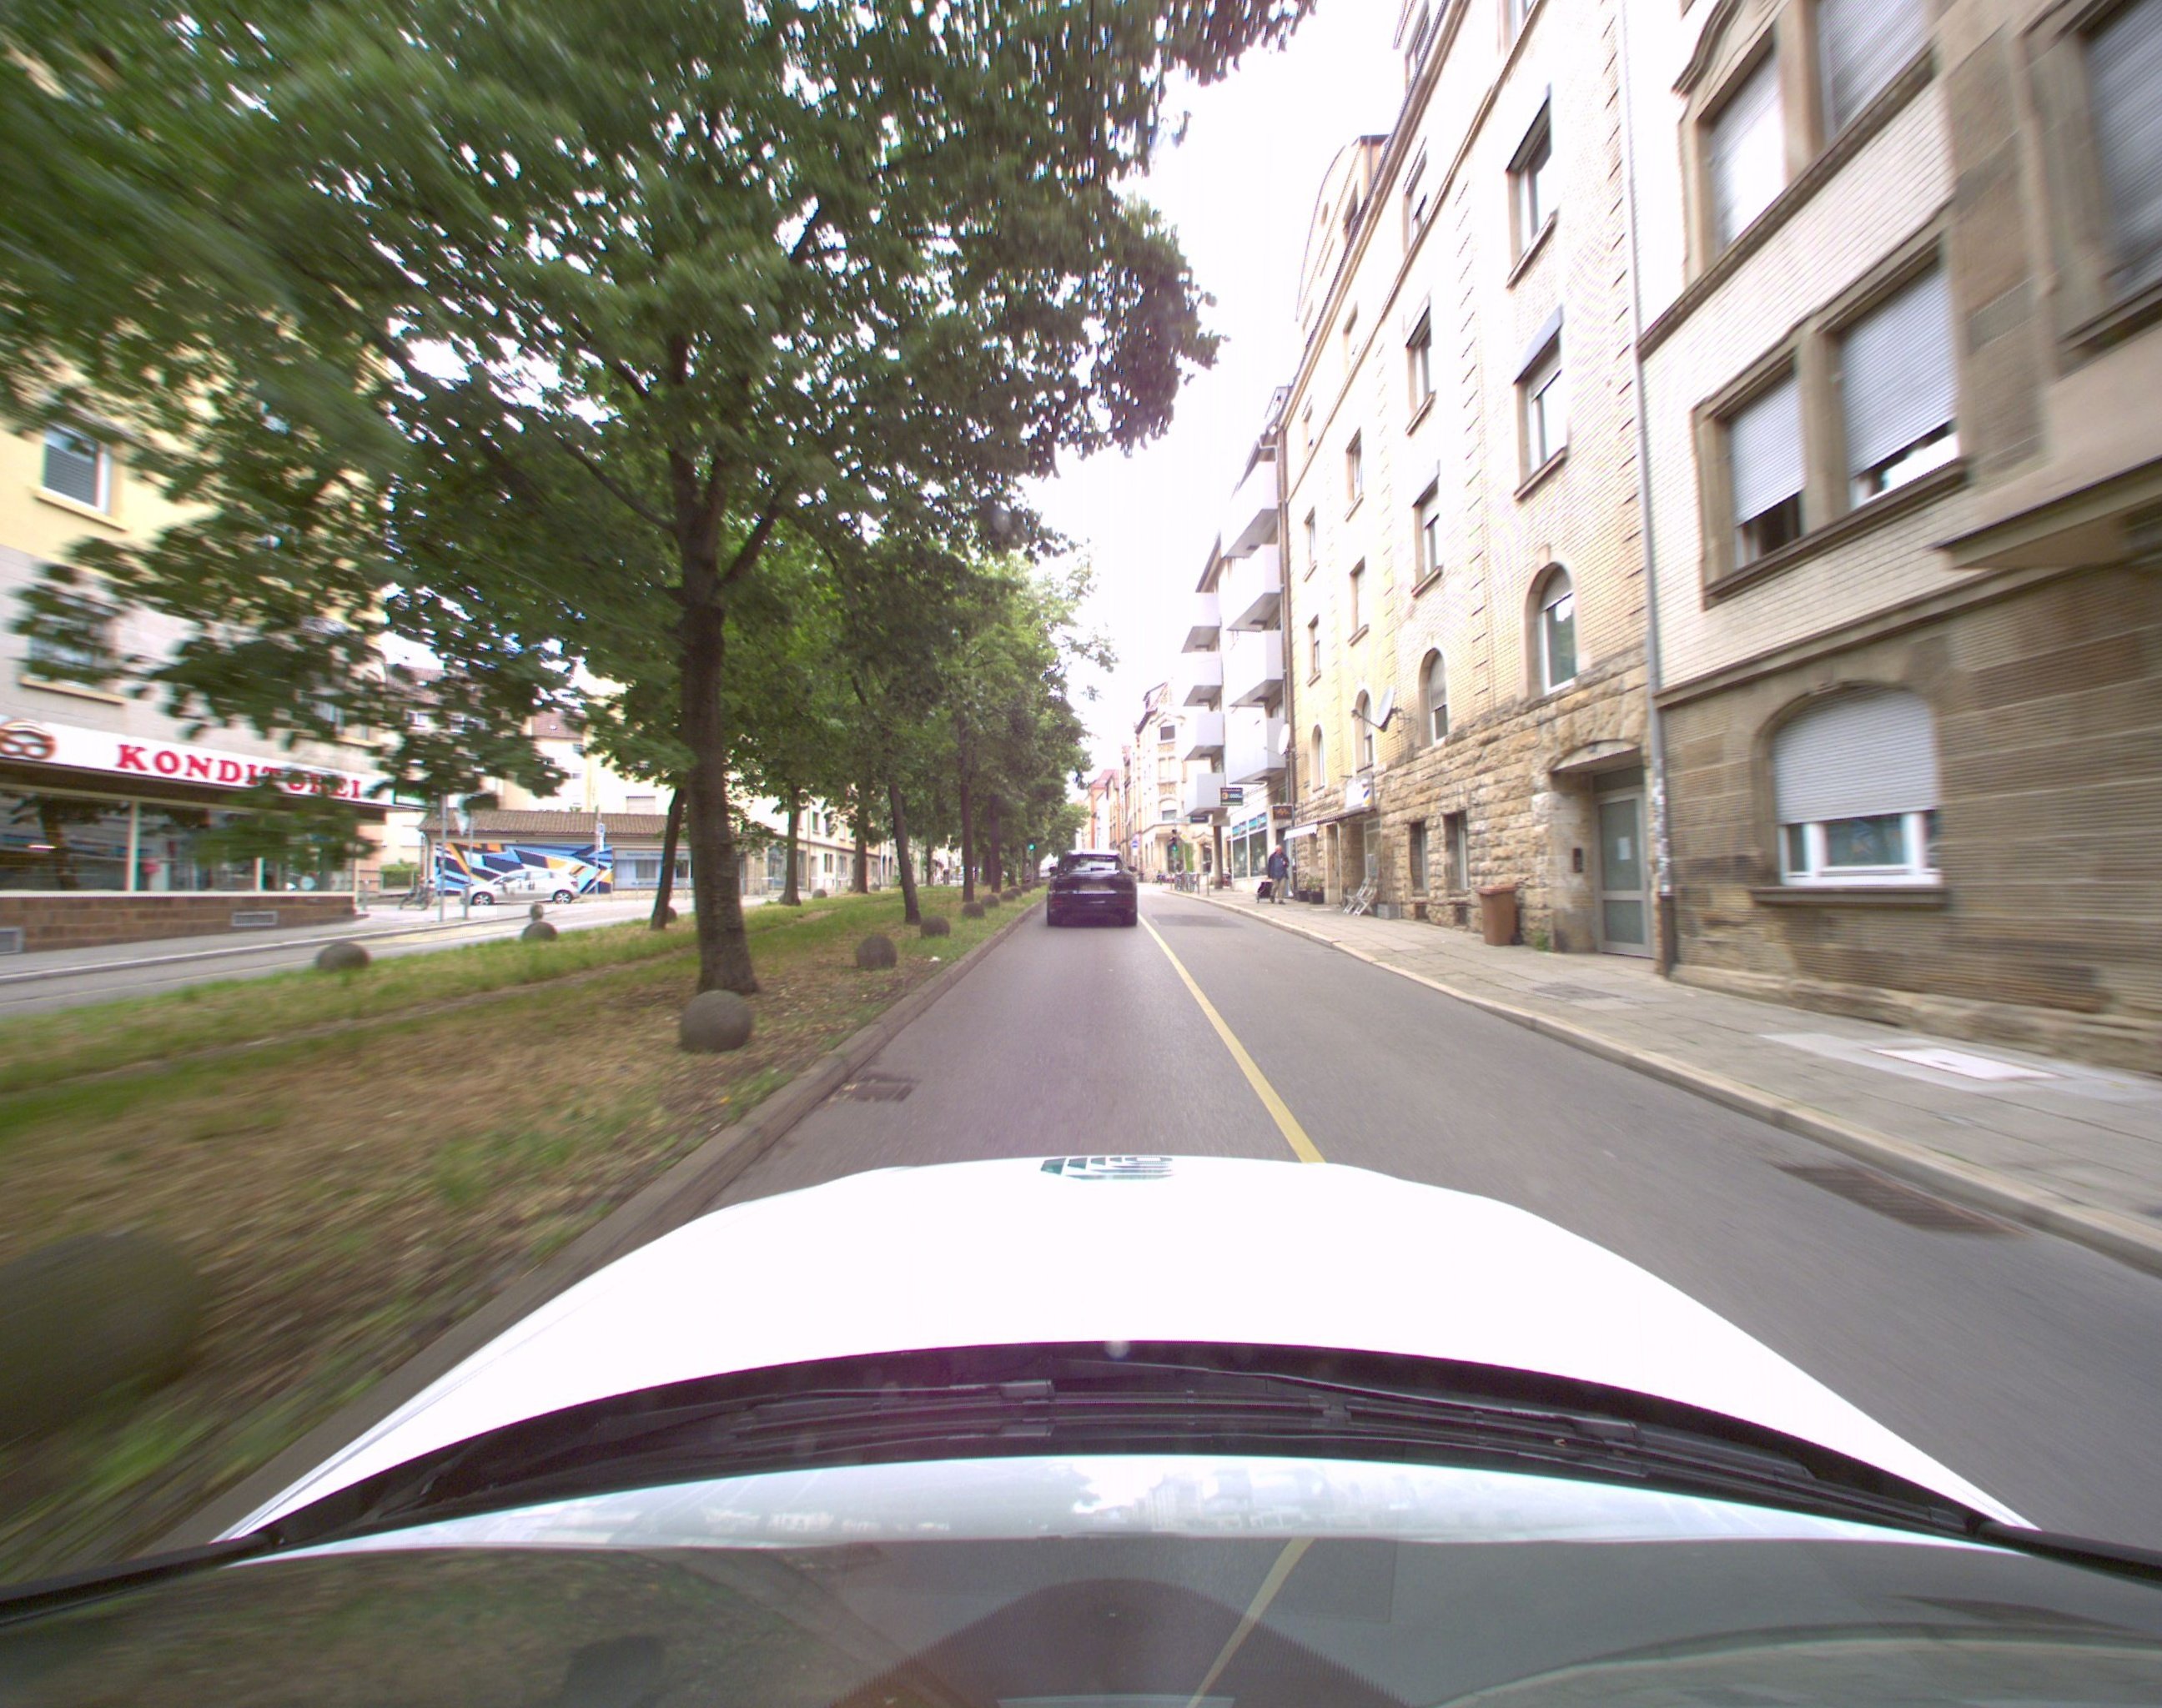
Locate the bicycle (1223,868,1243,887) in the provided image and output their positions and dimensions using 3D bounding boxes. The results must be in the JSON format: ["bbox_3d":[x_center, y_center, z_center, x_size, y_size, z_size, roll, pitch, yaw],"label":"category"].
[{"bbox_3d":[8.436,1.292,45.182,0.319,1.043,1.750,0,-2,-18],"label":"bicycle"}]

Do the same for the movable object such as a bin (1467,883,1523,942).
[{"bbox_3d":[6.444,0.907,12.688,0.592,0.904,0.503,0,-4,2],"label":"movable object such as a bin"}]

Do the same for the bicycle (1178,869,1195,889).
[{"bbox_3d":[5.054,1.213,38.996,0.567,0.931,1.774,0,-2,0],"label":"bicycle"}]

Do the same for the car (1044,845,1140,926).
[{"bbox_3d":[0.280,0.672,18.959,1.986,1.665,4.001,0,-1,1],"label":"car"}]

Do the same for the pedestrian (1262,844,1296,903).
[{"bbox_3d":[5.915,0.587,24.346,0.748,1.693,0.858,-3,-2,1],"label":"pedestrian"}]

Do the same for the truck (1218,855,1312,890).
[{"bbox_3d":[12.130,1.202,53.780,5.560,2.133,2.373,2,-1,-10],"label":"truck"}]

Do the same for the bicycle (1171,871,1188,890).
[{"bbox_3d":[5.011,1.343,41.688,0.286,0.931,1.753,0,-2,-13],"label":"bicycle"}]

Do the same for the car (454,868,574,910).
[{"bbox_3d":[-24.023,1.470,34.686,4.057,1.479,1.803,-4,-1,-33],"label":"car"}]

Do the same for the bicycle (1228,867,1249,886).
[{"bbox_3d":[8.747,1.279,45.292,0.319,1.043,1.750,0,-2,-18],"label":"bicycle"}]

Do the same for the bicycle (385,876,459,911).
[{"bbox_3d":[-20.836,1.222,25.750,2.429,1.046,0.873,0,-2,27],"label":"bicycle"}]

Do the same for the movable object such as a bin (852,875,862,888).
[{"bbox_3d":[-18.208,2.260,66.134,0.690,1.060,0.689,0,-3,-5],"label":"movable object such as a bin"}]

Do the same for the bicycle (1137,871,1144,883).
[{"bbox_3d":[5.497,2.139,75.201,0.445,1.037,2.246,-1,-2,-2],"label":"bicycle"}]

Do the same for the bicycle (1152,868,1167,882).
[{"bbox_3d":[6.185,1.663,64.061,0.876,1.129,2.978,0,-2,0],"label":"bicycle"}]

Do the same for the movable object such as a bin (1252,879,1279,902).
[{"bbox_3d":[5.703,1.119,25.198,0.605,0.669,0.858,-3,-2,1],"label":"movable object such as a bin"}]

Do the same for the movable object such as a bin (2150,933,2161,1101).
[{"bbox_3d":[6.136,0.881,4.161,0.592,0.904,0.563,0,-1,2],"label":"movable object such as a bin"}]

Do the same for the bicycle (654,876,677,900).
[{"bbox_3d":[-19.169,1.550,37.606,0.765,1.085,2.022,1,-2,-22],"label":"bicycle"}]

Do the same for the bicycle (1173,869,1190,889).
[{"bbox_3d":[5.193,1.291,42.009,0.286,1.054,1.753,0,-2,-13],"label":"bicycle"}]

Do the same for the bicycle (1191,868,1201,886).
[{"bbox_3d":[8.768,1.722,62.036,0.445,1.161,1.833,-2,4,-2],"label":"bicycle"}]

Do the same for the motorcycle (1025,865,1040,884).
[{"bbox_3d":[-3.868,1.641,64.851,1.016,1.446,2.246,-2,-2,0],"label":"motorcycle"}]
